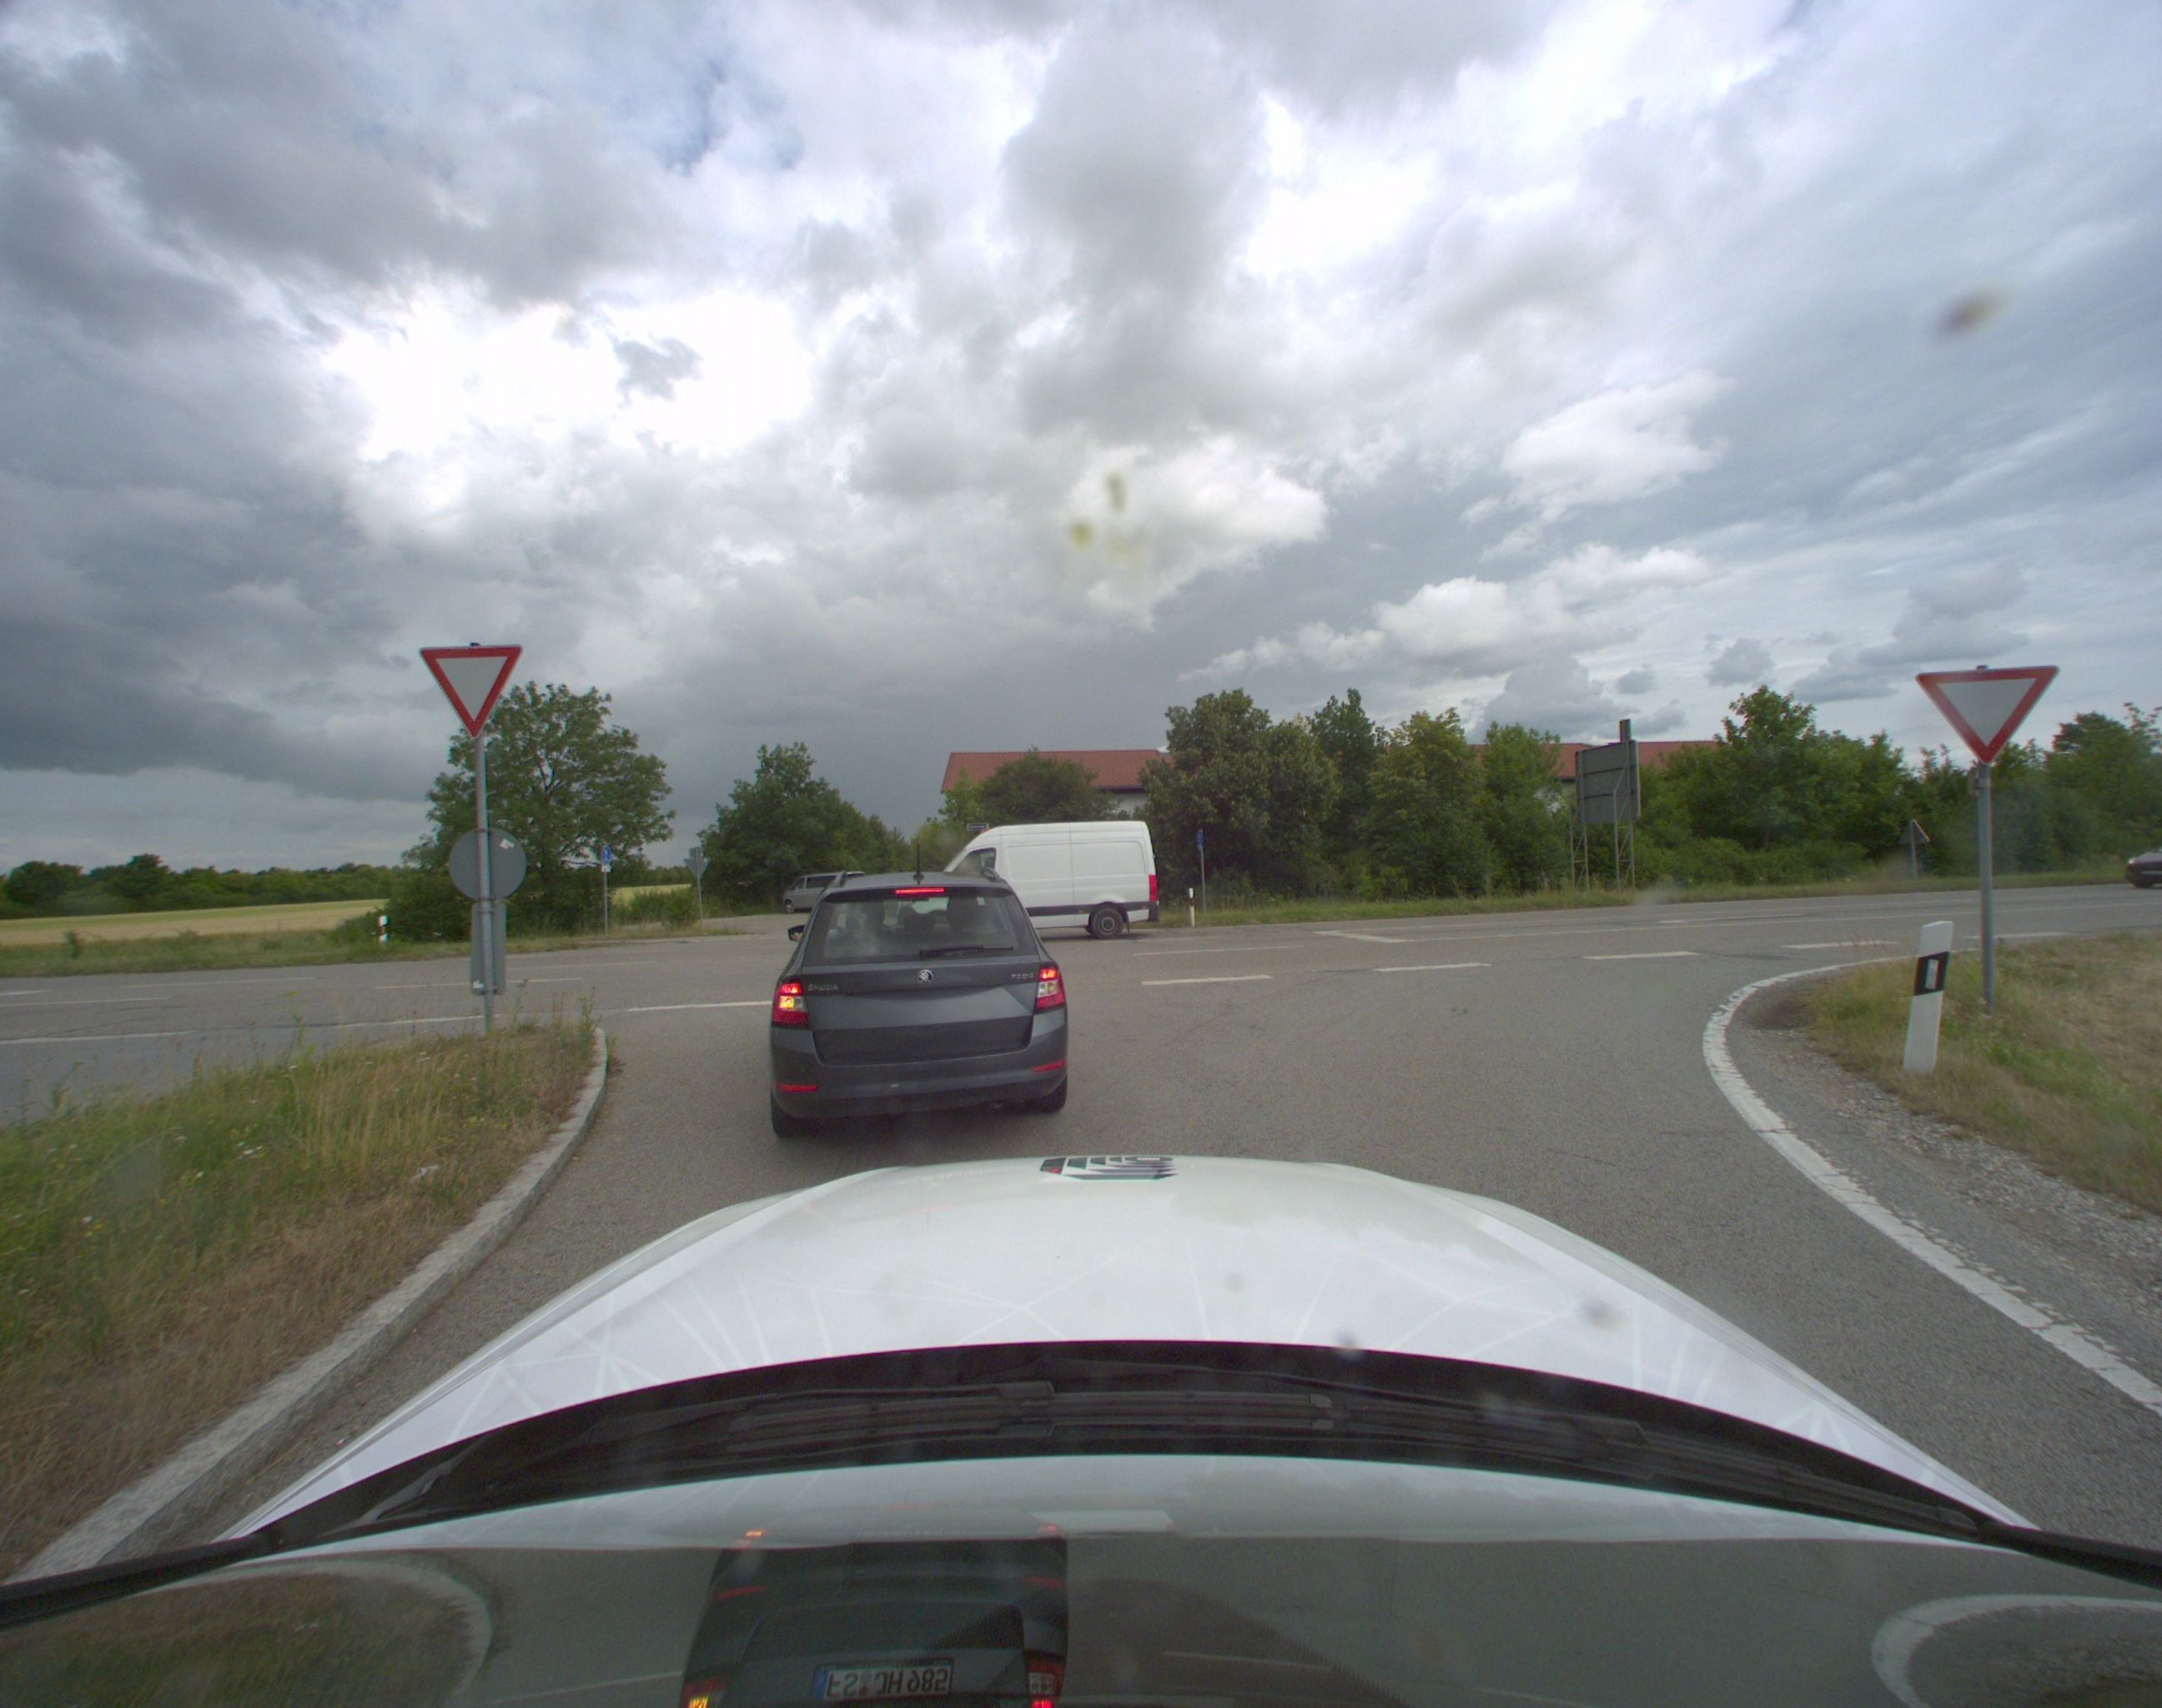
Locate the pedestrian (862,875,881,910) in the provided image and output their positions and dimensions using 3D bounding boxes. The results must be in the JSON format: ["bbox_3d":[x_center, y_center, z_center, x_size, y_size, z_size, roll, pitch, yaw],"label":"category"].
[{"bbox_3d":[-10.489,1.940,40.843,0.523,1.725,0.646,-3,0,32],"label":"pedestrian"}]

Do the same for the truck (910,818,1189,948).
[{"bbox_3d":[-0.746,0.625,18.673,5.992,2.576,1.994,-2,-2,-8],"label":"truck"}]

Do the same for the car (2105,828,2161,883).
[{"bbox_3d":[30.807,-0.048,21.968,4.141,1.464,1.996,-3,-1,-5],"label":"car"}]

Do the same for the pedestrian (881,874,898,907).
[{"bbox_3d":[-10.016,1.885,42.542,0.578,1.682,0.569,-3,0,20],"label":"pedestrian"}]

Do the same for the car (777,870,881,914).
[{"bbox_3d":[-12.793,1.940,41.267,4.851,2.013,2.357,-3,0,33],"label":"car"}]

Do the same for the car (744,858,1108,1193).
[{"bbox_3d":[-1.137,0.828,5.685,1.679,1.463,3.689,-1,-1,-14],"label":"car"}]
